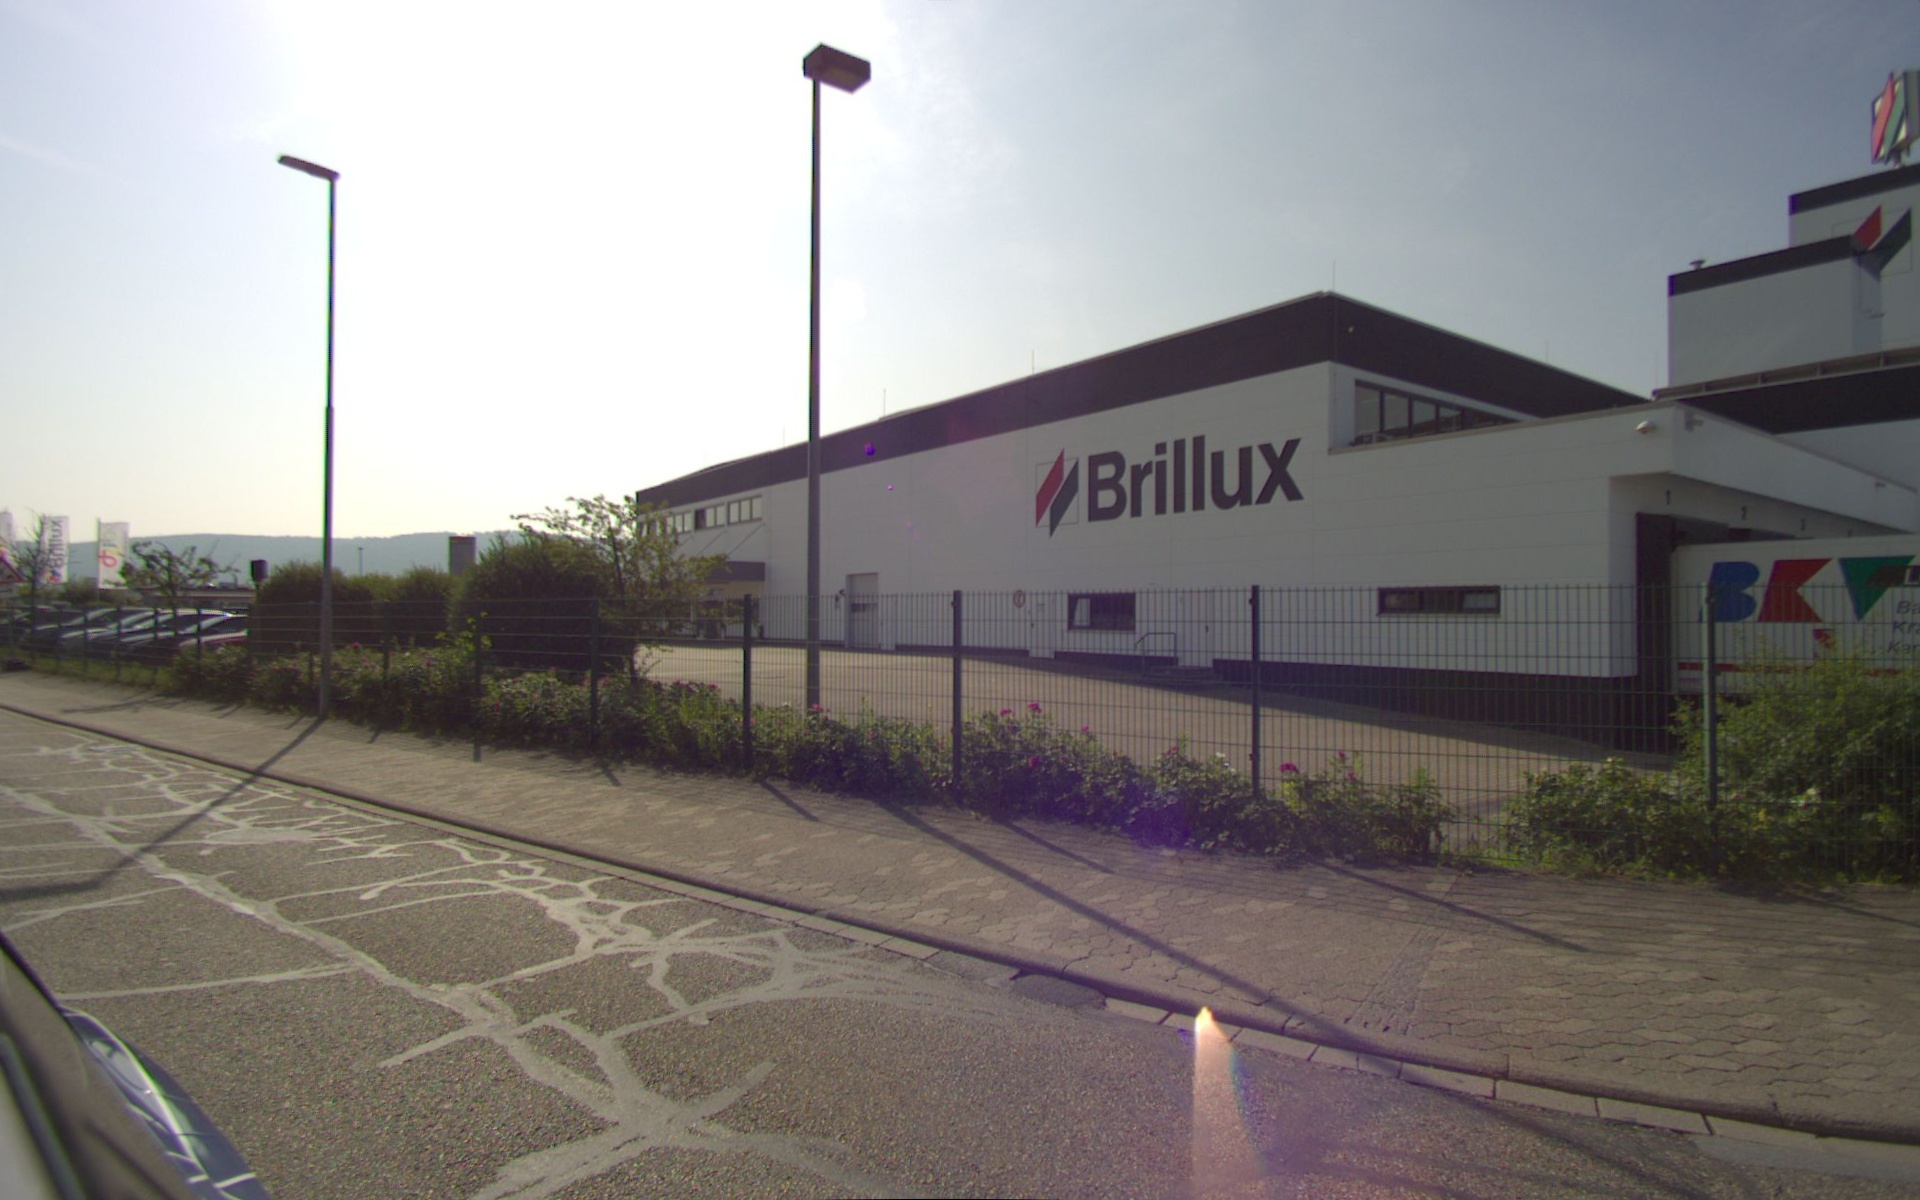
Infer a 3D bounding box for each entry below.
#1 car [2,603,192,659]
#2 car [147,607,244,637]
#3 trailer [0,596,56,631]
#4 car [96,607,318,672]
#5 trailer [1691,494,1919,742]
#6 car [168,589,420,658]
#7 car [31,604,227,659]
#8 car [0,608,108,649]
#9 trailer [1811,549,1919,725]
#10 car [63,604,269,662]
[{"bbox_3d":[-26.457,0.983,31.150,1.861,1.579,4.090,-1,-3,36],"label":"car"},{"bbox_3d":[-46.926,1.367,62.251,4.586,1.765,2.158,1,-1,-32],"label":"car"},{"bbox_3d":[-74.405,1.056,78.474,6.227,2.624,2.859,3,-3,-39],"label":"trailer"},{"bbox_3d":[-18.489,0.993,25.003,1.870,1.455,4.004,-1,-3,36],"label":"car"},{"bbox_3d":[19.020,0.328,14.339,2.449,4.071,13.919,-1,1,-37],"label":"trailer"},{"bbox_3d":[-15.403,0.597,23.650,1.948,1.455,4.495,-1,-3,36],"label":"car"},{"bbox_3d":[-23.892,0.944,29.215,1.870,1.455,4.004,-1,-3,36],"label":"car"},{"bbox_3d":[-35.500,1.079,38.257,2.074,1.455,4.644,0,-3,36],"label":"car"},{"bbox_3d":[26.241,0.840,20.086,2.817,4.037,14.041,-1,1,-37],"label":"trailer"},{"bbox_3d":[-21.385,0.920,27.412,1.870,1.455,4.004,-1,-3,36],"label":"car"}]
